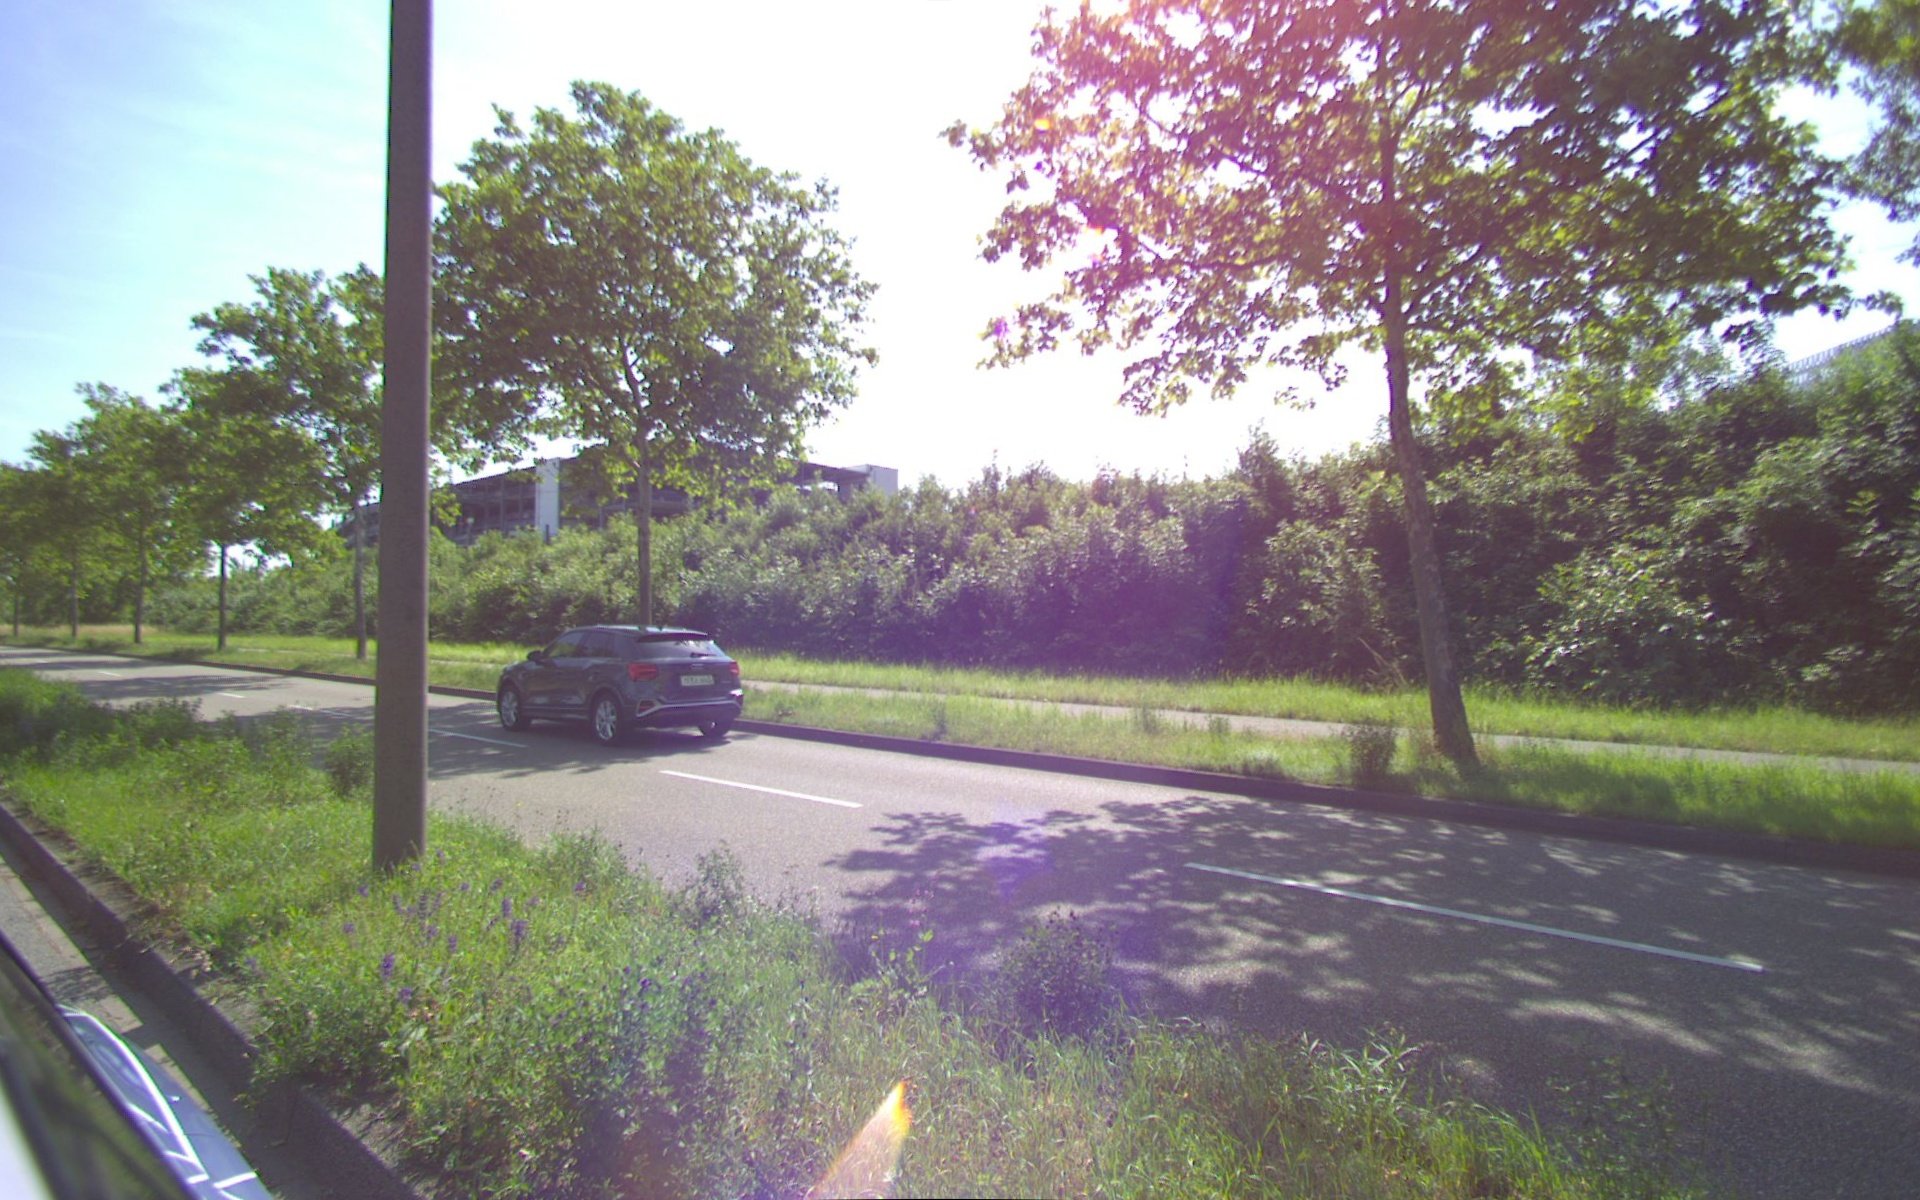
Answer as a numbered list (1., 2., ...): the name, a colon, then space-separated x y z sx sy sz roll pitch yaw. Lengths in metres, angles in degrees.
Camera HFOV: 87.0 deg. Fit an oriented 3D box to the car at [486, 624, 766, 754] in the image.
1. car: -4.631 1.085 13.800 3.935 1.478 1.844 0 -1 40
